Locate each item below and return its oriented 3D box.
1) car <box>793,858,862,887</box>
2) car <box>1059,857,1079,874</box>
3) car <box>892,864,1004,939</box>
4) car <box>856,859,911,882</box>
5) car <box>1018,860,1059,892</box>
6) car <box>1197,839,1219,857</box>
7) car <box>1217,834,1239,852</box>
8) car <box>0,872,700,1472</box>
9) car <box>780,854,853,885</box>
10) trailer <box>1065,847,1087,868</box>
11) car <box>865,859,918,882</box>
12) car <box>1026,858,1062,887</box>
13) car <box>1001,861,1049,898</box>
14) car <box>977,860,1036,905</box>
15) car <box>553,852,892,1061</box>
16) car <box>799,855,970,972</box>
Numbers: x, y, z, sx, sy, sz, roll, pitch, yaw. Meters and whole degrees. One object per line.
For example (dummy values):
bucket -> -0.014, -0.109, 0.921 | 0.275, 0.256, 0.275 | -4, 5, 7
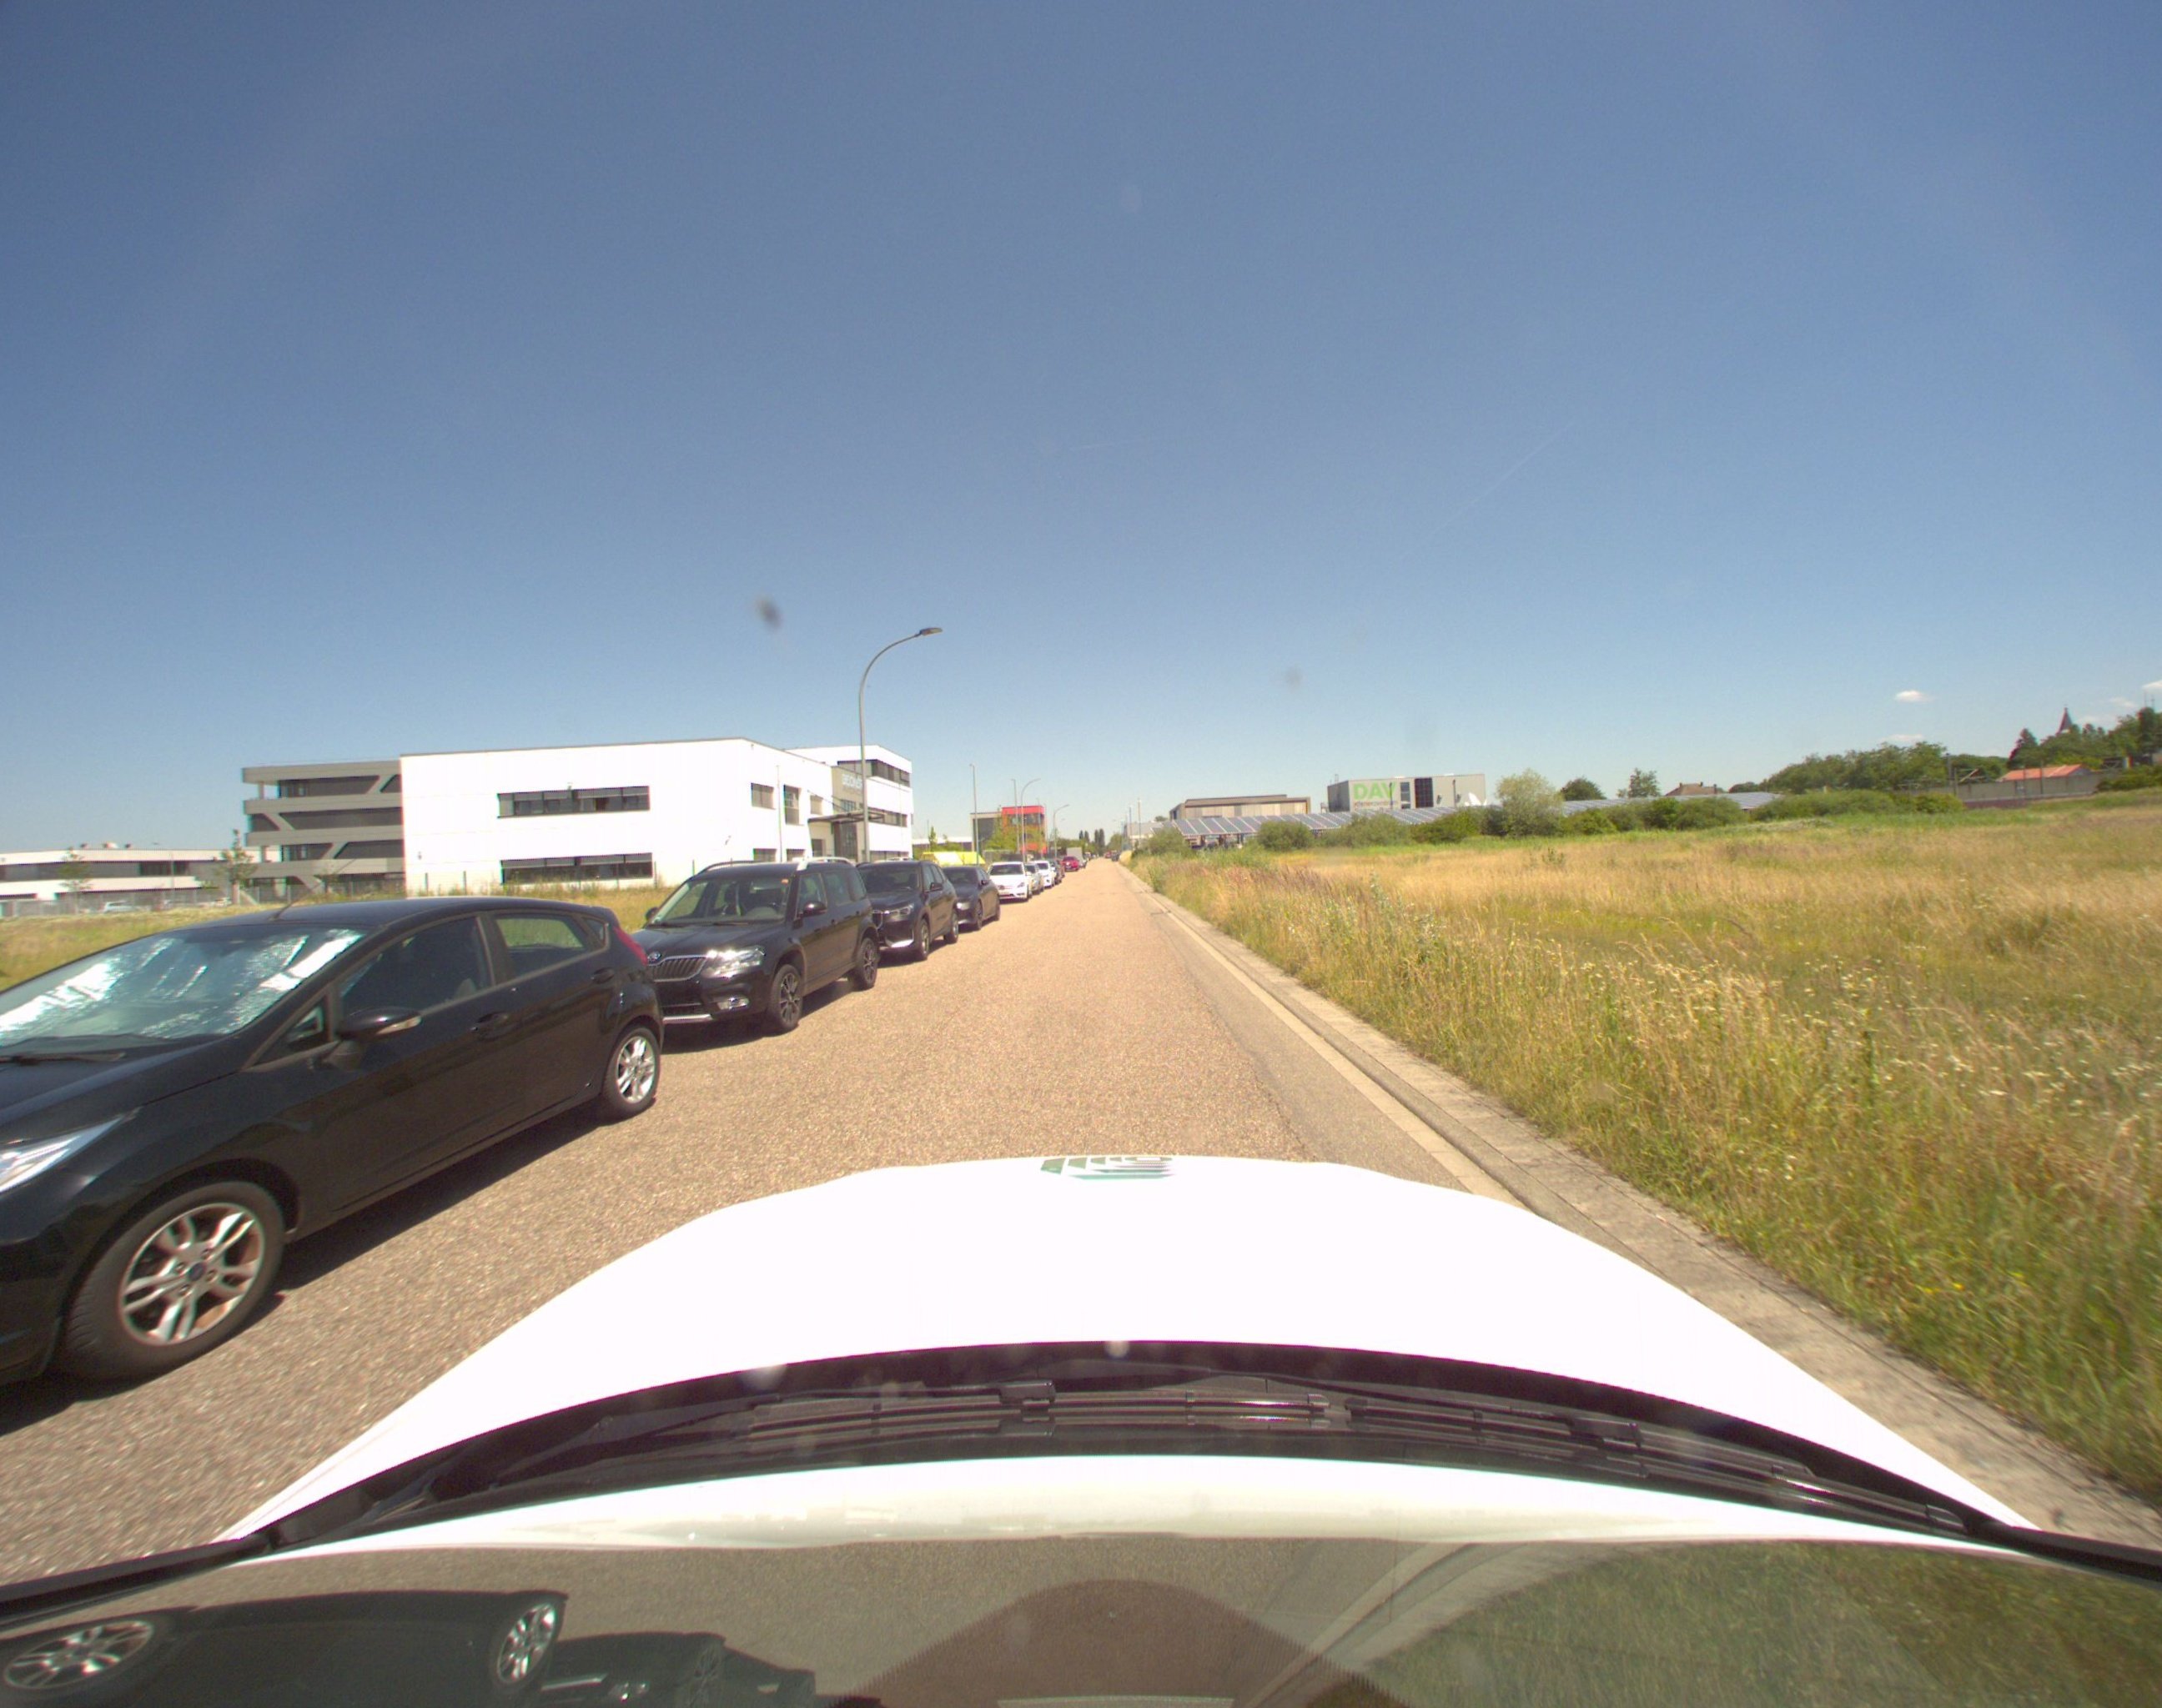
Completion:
car -> -19.313, 1.385, 62.103 | 4.511, 1.943, 2.032 | -3, -1, 2
car -> -1.146, 1.135, 80.973 | 1.780, 1.520, 3.984 | -3, 0, 2
car -> -3.150, 1.059, 20.328 | 1.762, 1.486, 5.016 | -3, 0, 2
car -> -18.629, 1.564, 76.912 | 4.511, 1.943, 2.032 | -3, -1, 2
car -> -2.255, 1.143, 44.127 | 1.780, 1.520, 3.984 | -3, 0, 2
car -> 15.565, -0.745, 100.023 | 1.986, 2.013, 4.001 | -3, 0, 1
car -> 18.041, -1.369, 99.880 | 1.986, 2.013, 4.001 | -3, 0, 1
car -> -3.616, 0.921, 3.926 | 1.584, 1.492, 3.834 | -3, 0, 2
car -> -19.296, 1.116, 59.573 | 4.511, 1.943, 2.032 | -3, -1, 2
trailer -> -0.523, 0.412, 92.532 | 2.193, 2.137, 4.287 | -3, 0, 2
car -> -18.541, 1.585, 79.781 | 4.511, 1.943, 2.032 | -3, -1, 2
car -> -2.181, 1.089, 49.302 | 1.780, 1.520, 3.984 | -3, 0, 2
car -> -2.583, 1.164, 38.306 | 1.780, 1.520, 3.984 | -3, 0, 2
car -> -2.875, 1.080, 32.358 | 1.780, 1.520, 3.984 | -3, 0, 2
car -> -3.510, 0.861, 8.968 | 1.671, 1.663, 4.238 | -3, 0, 2
car -> -3.292, 0.903, 14.622 | 1.762, 1.663, 4.553 | -3, 0, 2
